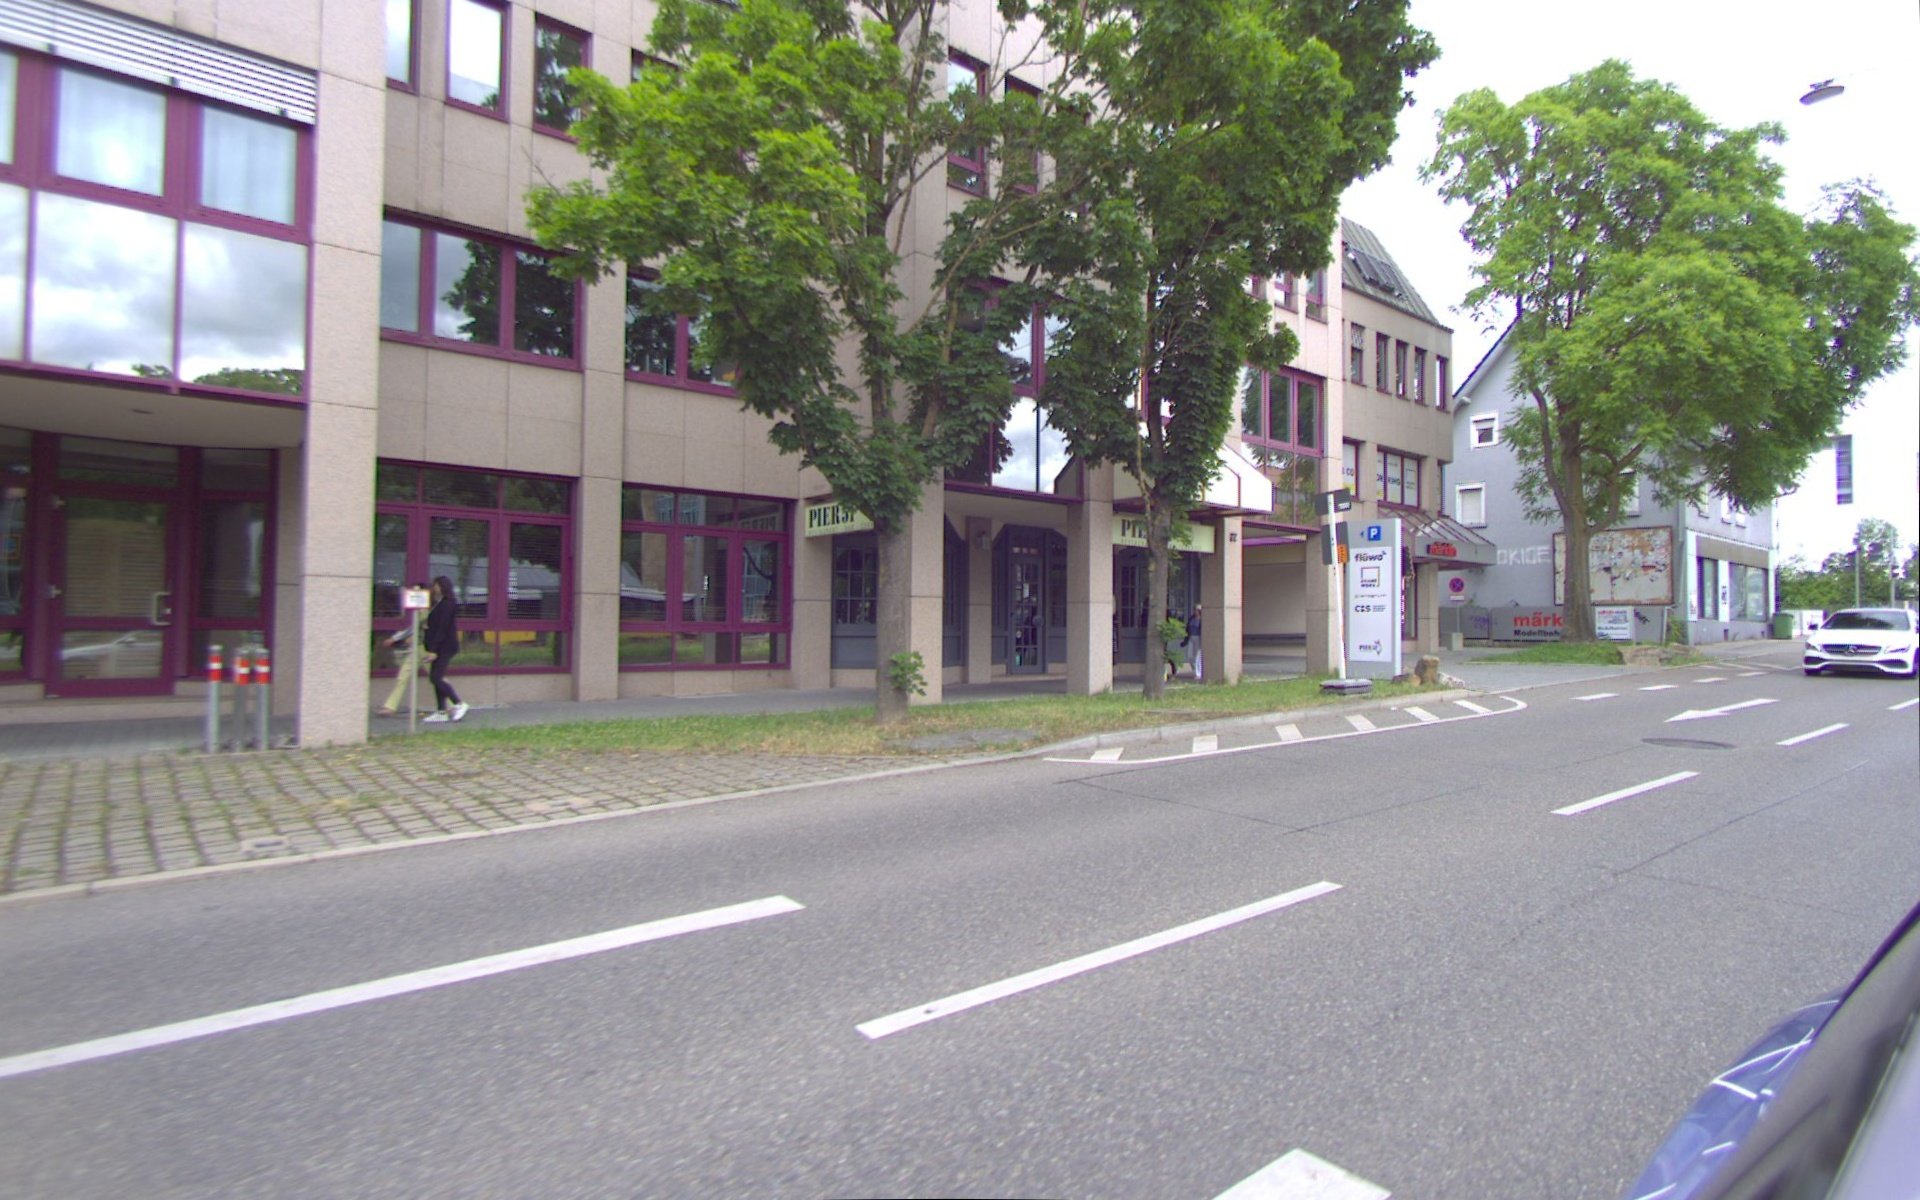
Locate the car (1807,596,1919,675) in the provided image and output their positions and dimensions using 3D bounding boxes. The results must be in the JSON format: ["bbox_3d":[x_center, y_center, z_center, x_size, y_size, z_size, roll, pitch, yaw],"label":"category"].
[{"bbox_3d":[19.889,0.685,21.645,4.613,1.491,1.798,-1,0,-38],"label":"car"}]

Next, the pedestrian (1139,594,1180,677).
[{"bbox_3d":[3.875,0.671,19.691,0.534,1.569,0.562,0,1,-38],"label":"pedestrian"}]

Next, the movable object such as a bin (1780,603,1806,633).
[{"bbox_3d":[31.994,0.687,38.872,0.697,1.118,0.610,0,-1,-39],"label":"movable object such as a bin"}]

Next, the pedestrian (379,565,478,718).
[{"bbox_3d":[-6.268,0.470,11.944,0.952,1.726,0.596,0,-1,-38],"label":"pedestrian"}]

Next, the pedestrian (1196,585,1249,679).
[{"bbox_3d":[5.316,0.620,20.495,0.827,1.849,0.659,0,1,-38],"label":"pedestrian"}]

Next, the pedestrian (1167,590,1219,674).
[{"bbox_3d":[4.880,0.647,21.197,0.827,1.712,0.659,0,1,-38],"label":"pedestrian"}]

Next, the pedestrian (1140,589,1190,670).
[{"bbox_3d":[4.424,0.617,21.824,0.827,1.712,0.659,0,1,-38],"label":"pedestrian"}]

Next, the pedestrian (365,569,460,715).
[{"bbox_3d":[-6.752,0.493,12.485,0.952,1.726,0.596,0,-1,-38],"label":"pedestrian"}]
